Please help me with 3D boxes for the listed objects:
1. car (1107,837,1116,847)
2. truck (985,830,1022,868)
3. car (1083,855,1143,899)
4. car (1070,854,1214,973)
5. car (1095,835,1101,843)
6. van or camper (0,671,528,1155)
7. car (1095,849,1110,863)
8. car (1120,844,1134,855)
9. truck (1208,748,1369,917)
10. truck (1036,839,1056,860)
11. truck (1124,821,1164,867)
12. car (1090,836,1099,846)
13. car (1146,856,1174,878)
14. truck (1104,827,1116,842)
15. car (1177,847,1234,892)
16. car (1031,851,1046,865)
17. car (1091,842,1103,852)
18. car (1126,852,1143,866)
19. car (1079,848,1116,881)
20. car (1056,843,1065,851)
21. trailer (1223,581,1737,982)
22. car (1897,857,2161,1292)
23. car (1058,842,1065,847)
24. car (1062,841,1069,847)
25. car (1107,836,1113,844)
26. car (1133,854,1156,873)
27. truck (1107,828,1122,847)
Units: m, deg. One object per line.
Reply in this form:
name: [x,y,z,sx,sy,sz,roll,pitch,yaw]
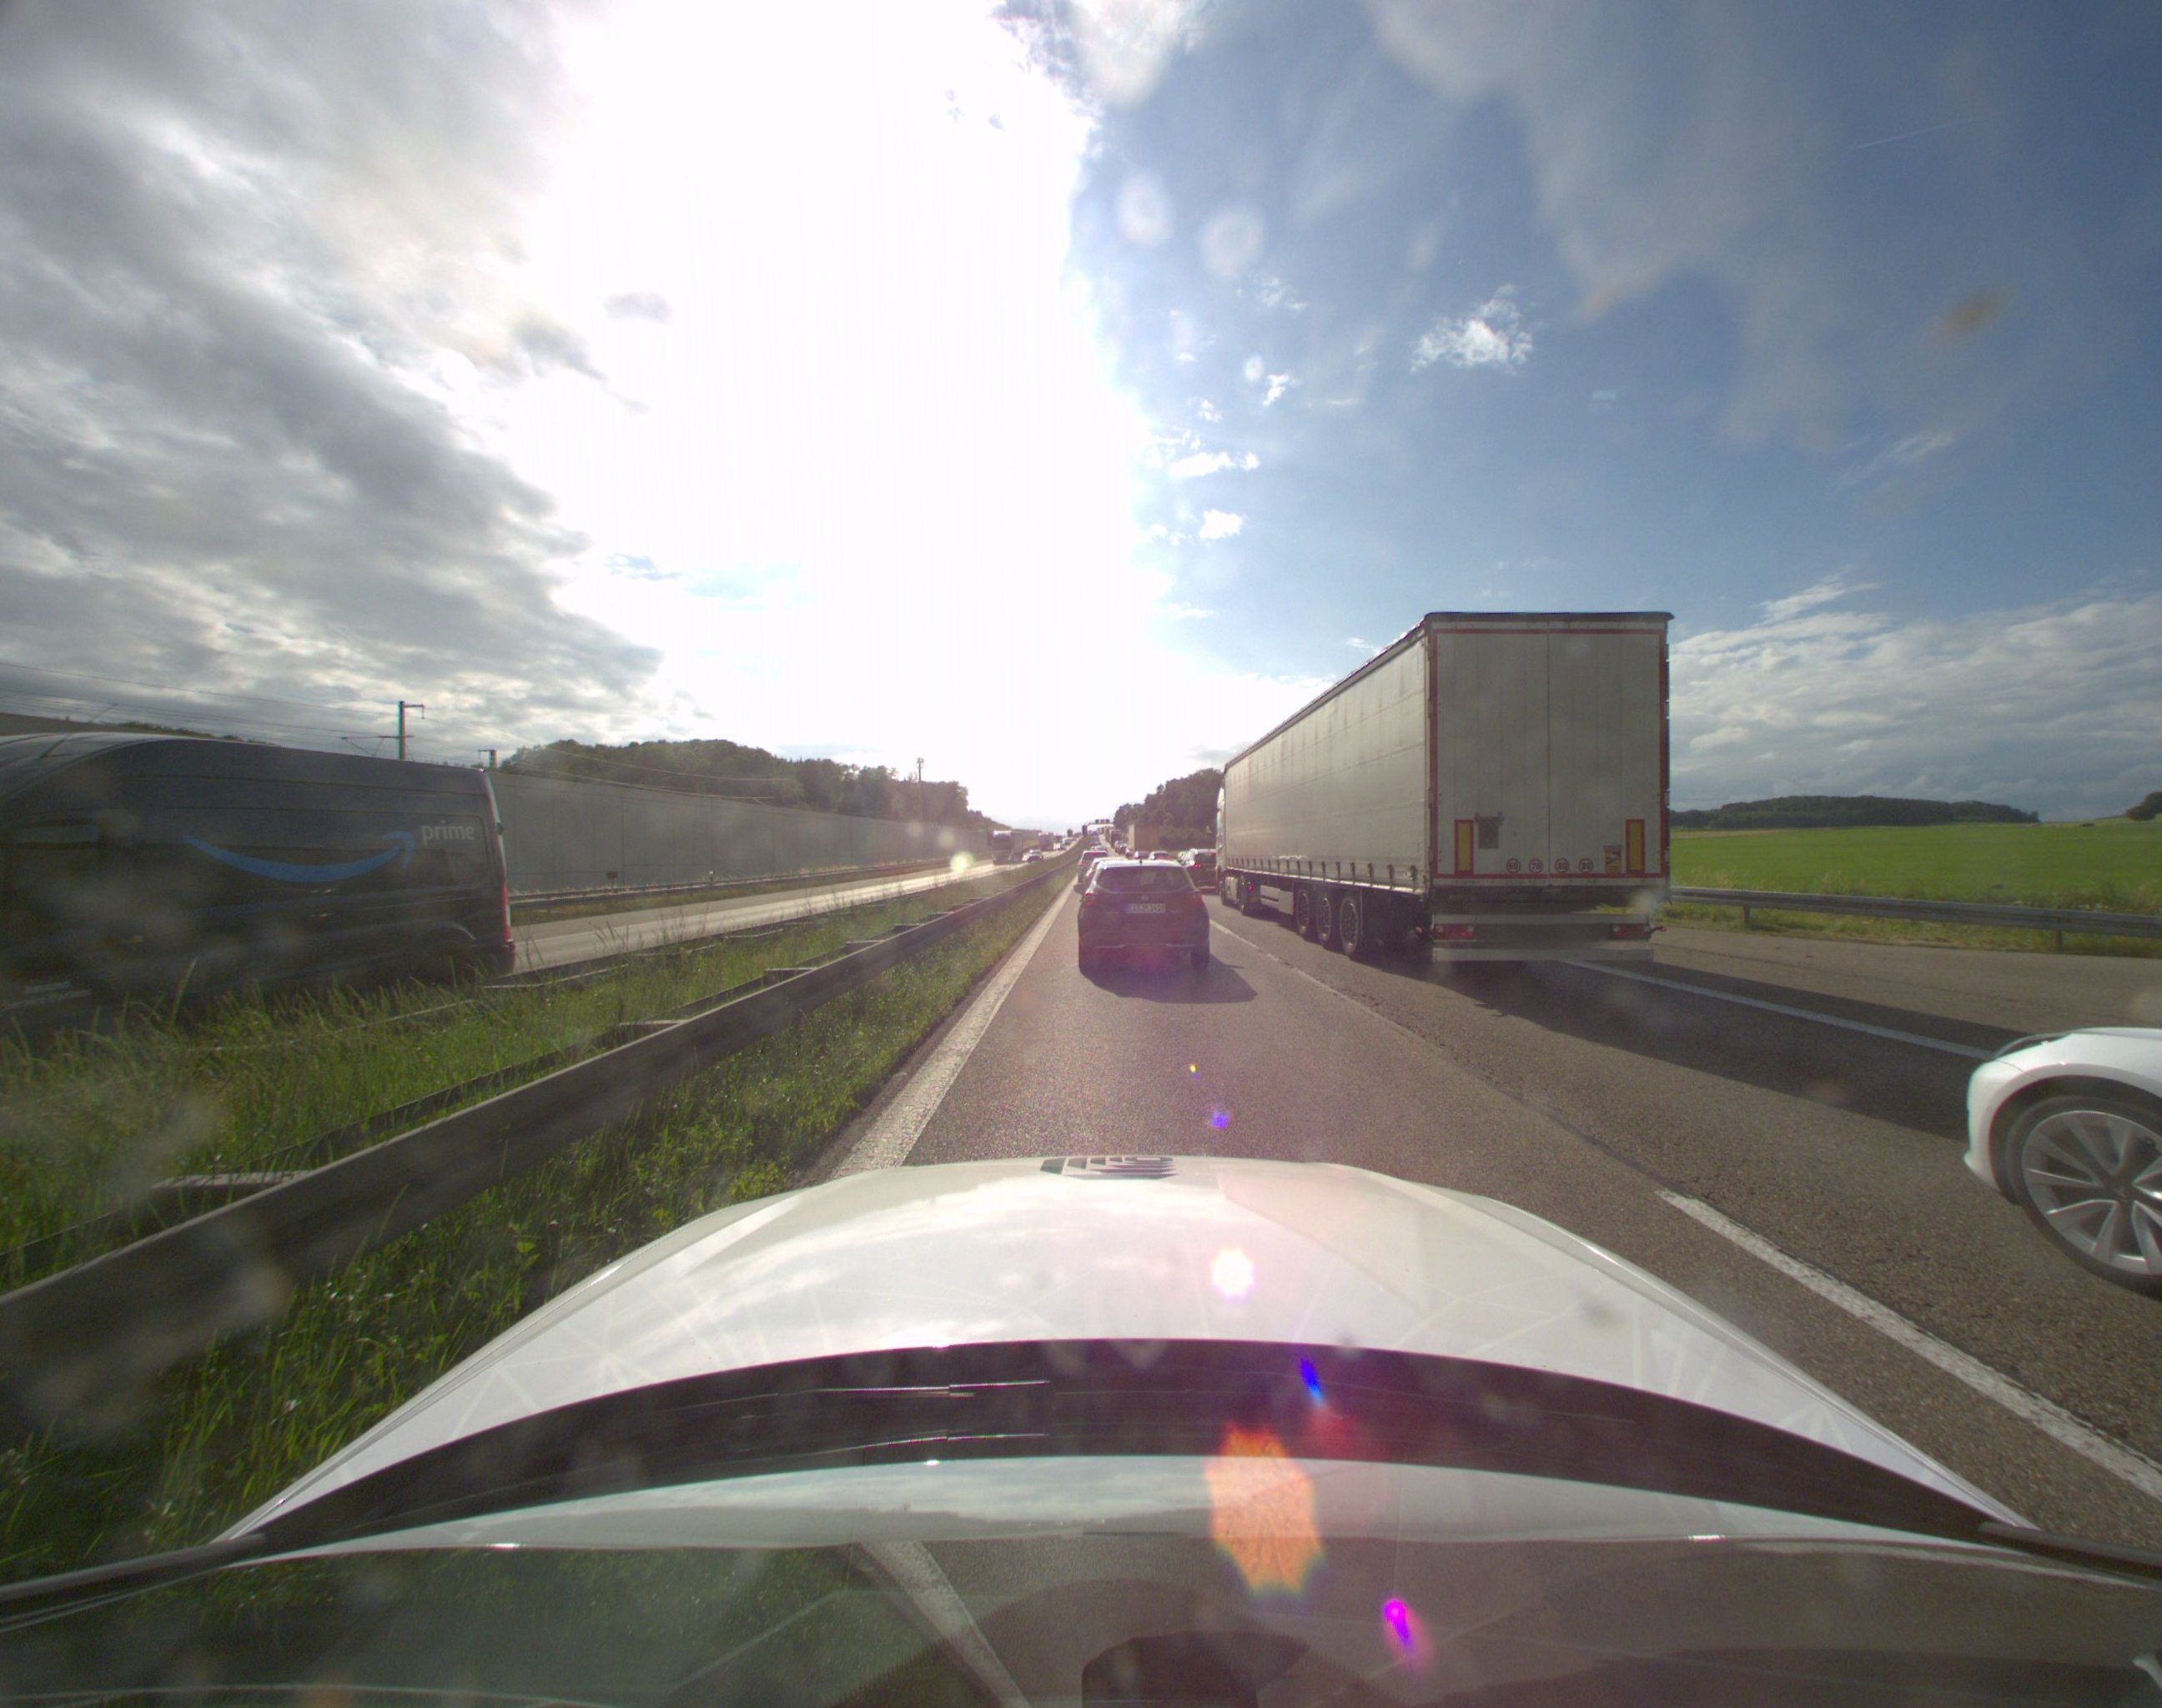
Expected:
car: [6.979,-2.816,187.821,1.867,2.158,5.213,-1,2,1]
truck: [-9.933,-0.657,105.924,3.285,4.577,12.442,-1,0,1]
car: [1.051,0.741,27.793,1.866,1.358,4.233,-1,0,1]
car: [0.811,0.757,12.307,1.767,1.451,4.233,-1,0,1]
car: [5.018,-4.373,240.096,1.867,2.158,5.213,-1,2,1]
van or camper: [-7.315,0.369,6.196,2.083,2.819,5.896,0,-1,1]
car: [2.674,0.249,101.119,1.866,1.644,4.233,-1,1,1]
car: [7.339,-0.716,130.812,1.869,1.644,4.229,-1,1,-2]
truck: [5.374,-0.475,22.127,3.122,4.016,5.165,-1,-1,1]
truck: [-7.908,-1.041,183.931,3.283,4.554,12.450,-1,0,3]
truck: [6.671,-0.905,88.446,3.286,4.577,12.436,0,-1,0]
car: [3.127,-2.931,184.889,1.867,2.158,5.213,-1,2,1]
car: [6.318,1.055,65.451,1.866,1.644,4.233,-1,-1,1]
truck: [9.257,-6.115,259.329,3.453,4.577,12.439,0,1,0]
car: [4.876,0.579,32.362,1.691,1.611,4.439,-1,0,2]
car: [-5.295,0.530,102.305,1.738,1.706,4.230,0,-1,-1]
car: [2.740,-1.179,140.259,1.867,1.644,4.232,-1,1,0]
car: [6.534,0.544,99.793,1.867,1.644,4.232,-1,0,0]
car: [0.876,0.550,43.390,1.866,1.644,4.233,-1,0,1]
car: [-4.501,-1.531,179.589,1.737,1.705,4.234,0,1,1]
trailer: [5.156,-0.594,14.875,3.119,4.011,13.369,-1,-1,2]
car: [4.416,0.710,1.282,1.783,1.394,4.434,-1,0,-1]
car: [-6.039,-2.936,251.997,1.738,1.705,4.233,0,2,0]
car: [-4.139,-2.731,219.869,1.737,1.705,4.234,0,2,1]
car: [8.672,-4.237,242.955,1.867,2.158,5.213,-1,2,1]
car: [5.959,0.882,76.698,1.866,1.644,4.233,-1,0,1]
truck: [8.726,-4.284,213.398,3.453,4.577,12.439,0,1,0]
